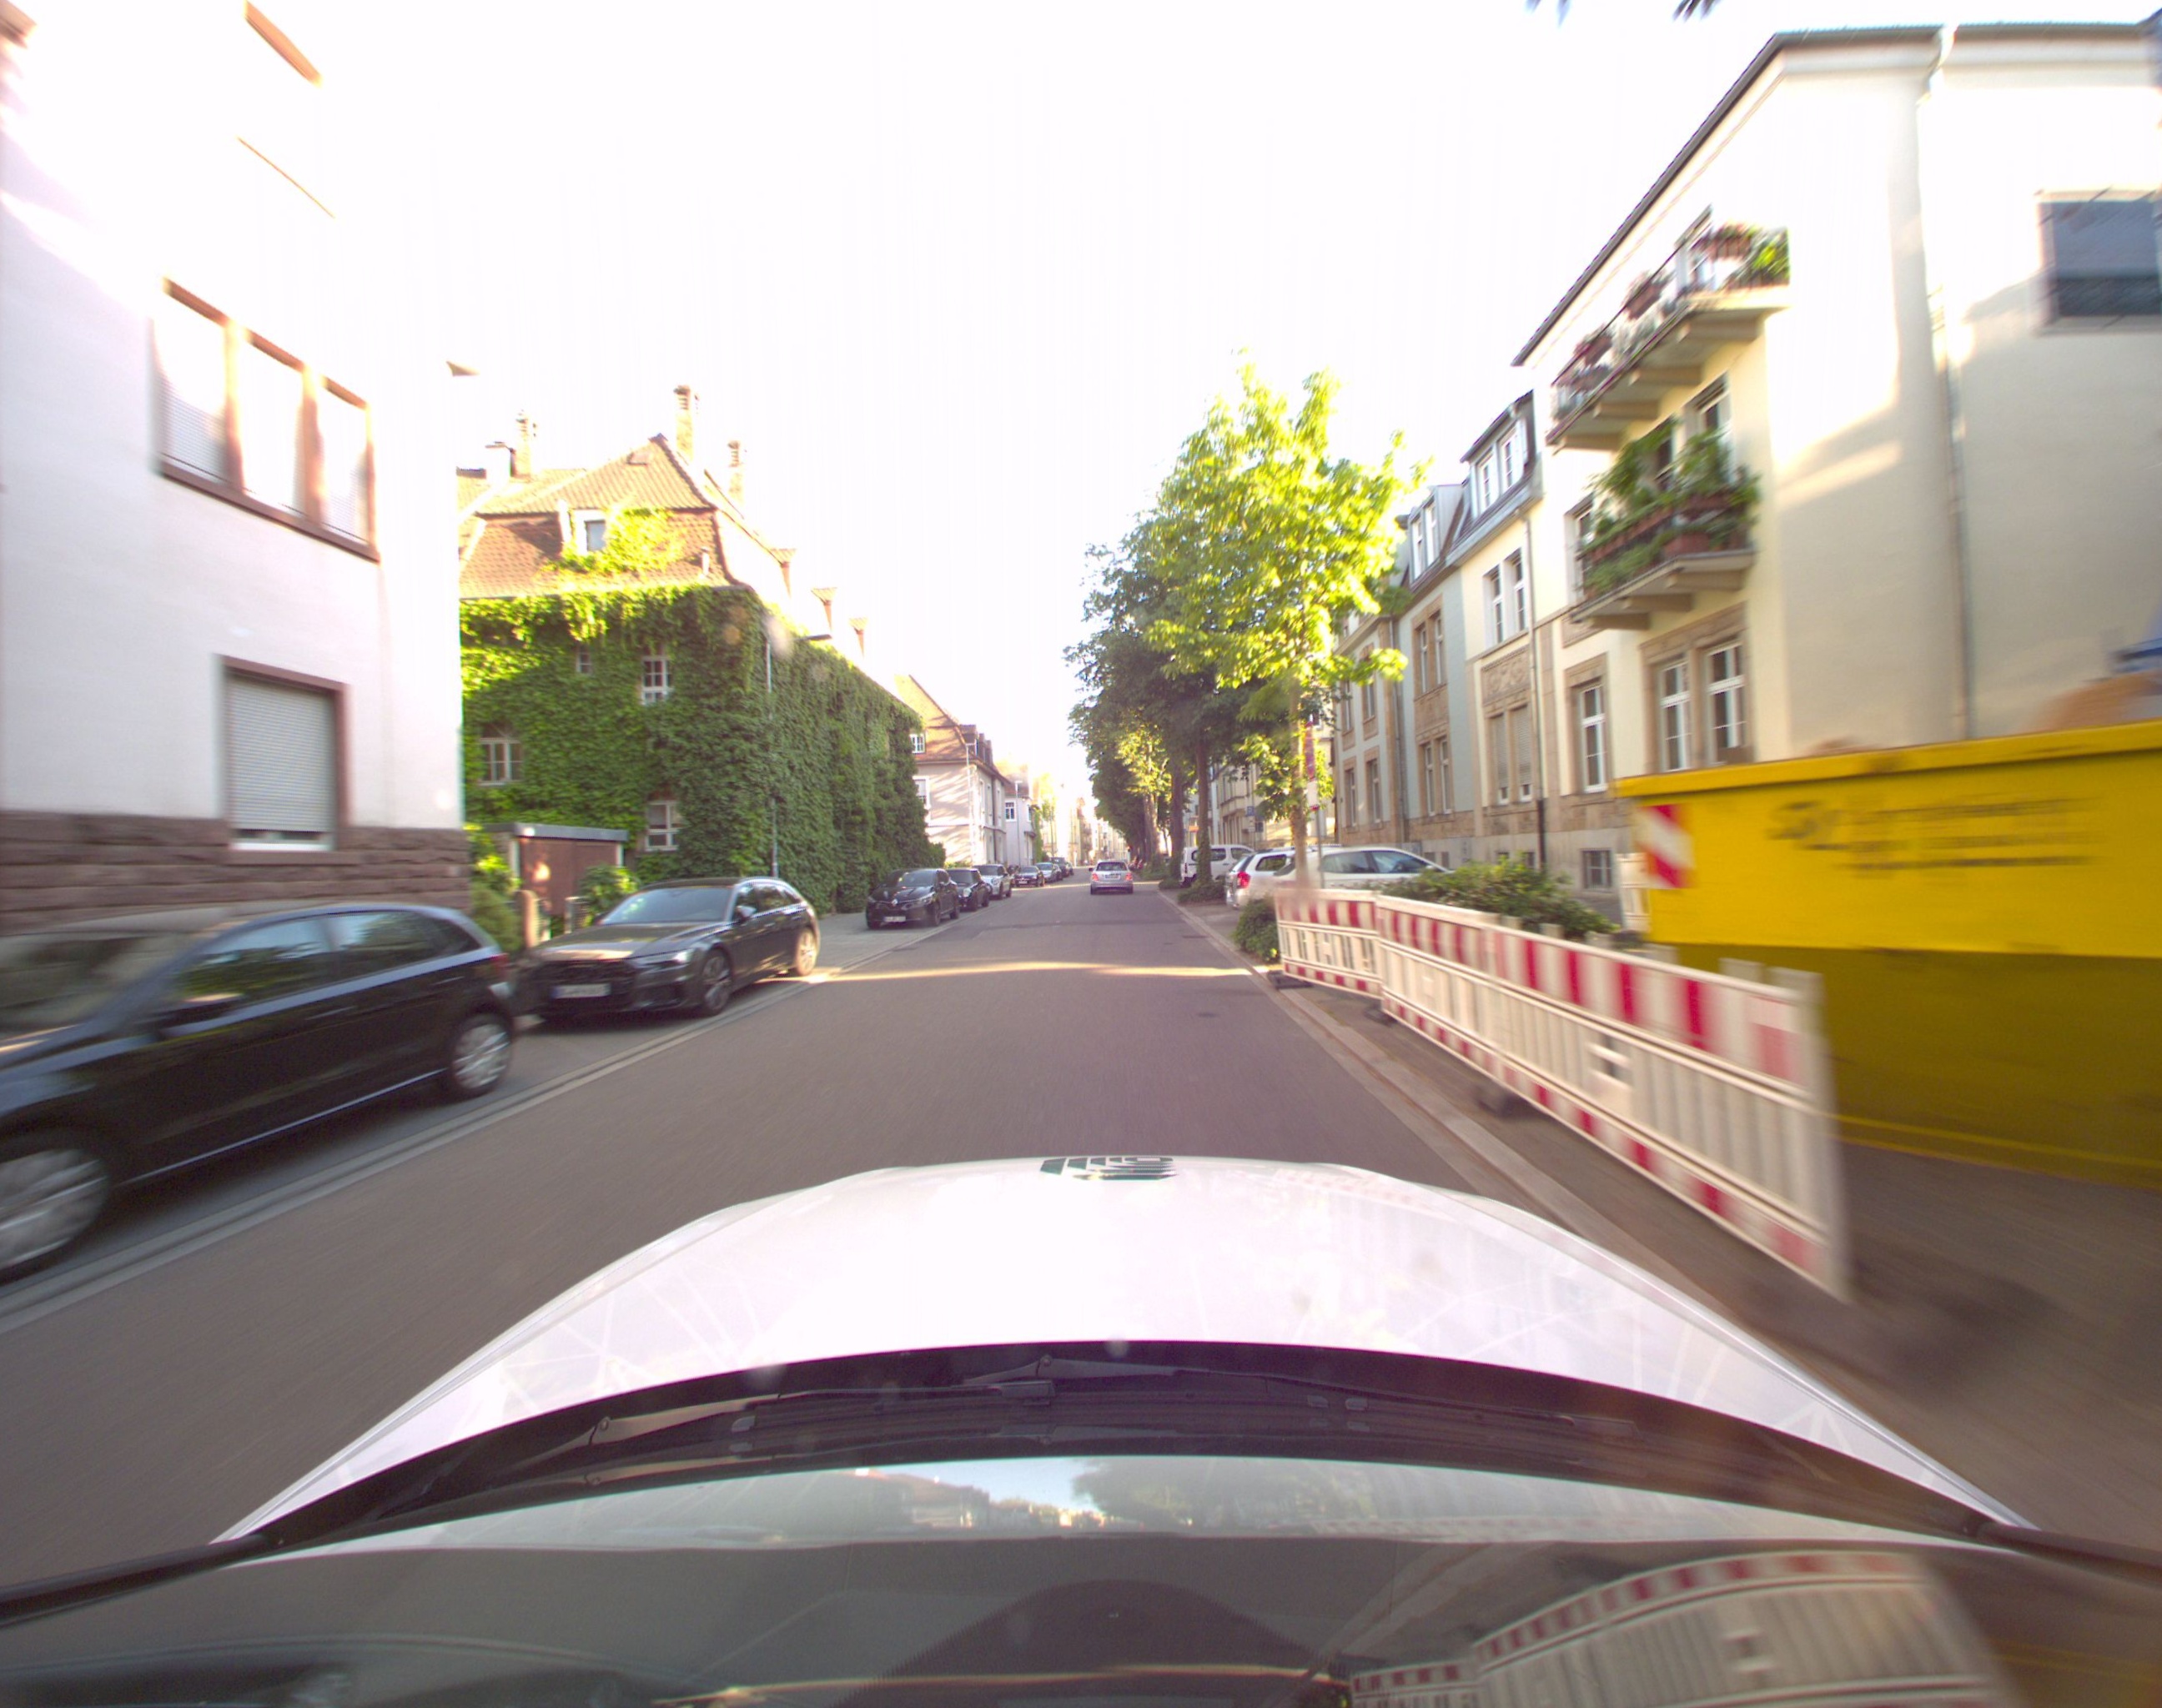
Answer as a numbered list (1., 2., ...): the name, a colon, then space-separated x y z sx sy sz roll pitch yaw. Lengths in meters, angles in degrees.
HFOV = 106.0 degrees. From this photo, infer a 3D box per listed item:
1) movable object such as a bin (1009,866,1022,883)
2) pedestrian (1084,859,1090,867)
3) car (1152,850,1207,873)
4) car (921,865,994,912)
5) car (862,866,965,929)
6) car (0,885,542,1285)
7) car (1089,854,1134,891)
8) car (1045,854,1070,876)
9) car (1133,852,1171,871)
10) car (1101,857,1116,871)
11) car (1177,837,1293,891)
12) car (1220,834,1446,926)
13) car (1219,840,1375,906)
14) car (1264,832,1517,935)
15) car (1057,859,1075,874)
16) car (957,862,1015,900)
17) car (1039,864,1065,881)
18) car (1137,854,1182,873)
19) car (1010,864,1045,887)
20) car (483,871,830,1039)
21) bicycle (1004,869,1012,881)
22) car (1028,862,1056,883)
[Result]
1. movable object such as a bin: -5.265 1.657 65.470 0.719 1.283 2.097 -2 0 2
2. pedestrian: 1.338 1.960 177.659 1.215 1.722 1.505 -1 -1 5
3. car: 7.274 0.557 60.610 3.784 1.438 1.747 -4 -1 -3
4. car: -4.038 1.096 27.093 1.680 1.379 3.723 -1 0 2
5. car: -4.250 1.062 21.277 1.643 1.421 4.101 -1 0 2
6. car: -5.024 0.970 4.393 1.648 1.447 3.843 -1 0 0
7. car: 1.329 0.790 34.539 1.777 1.437 3.853 -1 -1 3
8. car: -2.181 1.048 76.725 1.975 1.947 4.852 -1 0 1
9. car: 8.188 0.815 94.218 4.206 1.896 1.905 -4 -1 0
10. car: 3.276 1.145 95.531 1.617 1.570 3.683 -2 0 3
11. car: 6.187 0.405 33.081 4.298 1.807 2.001 -4 0 1
12. car: 5.105 0.515 16.922 4.126 1.534 1.688 -4 0 4
13. car: 5.780 0.503 22.123 3.734 1.462 1.735 -4 0 1
14. car: 5.310 0.498 14.404 3.832 1.462 1.690 -4 0 6
15. car: -1.566 1.318 87.736 1.688 1.447 4.360 -1 0 2
16. car: -3.901 1.078 33.931 1.697 1.460 3.921 -1 0 3
17. car: -2.261 1.447 64.908 1.524 1.319 4.232 -2 -1 5
18. car: 7.482 0.908 77.625 4.171 1.475 1.854 -4 -1 4
19. car: -3.331 1.332 51.381 1.646 1.324 4.050 -1 -1 4
20. car: -4.756 1.007 10.105 1.787 1.461 4.776 -1 0 0
21. bicycle: -5.691 1.627 63.349 0.392 0.937 1.723 -3 0 2
22. car: -2.818 1.313 60.119 1.647 1.445 3.963 -1 0 3
